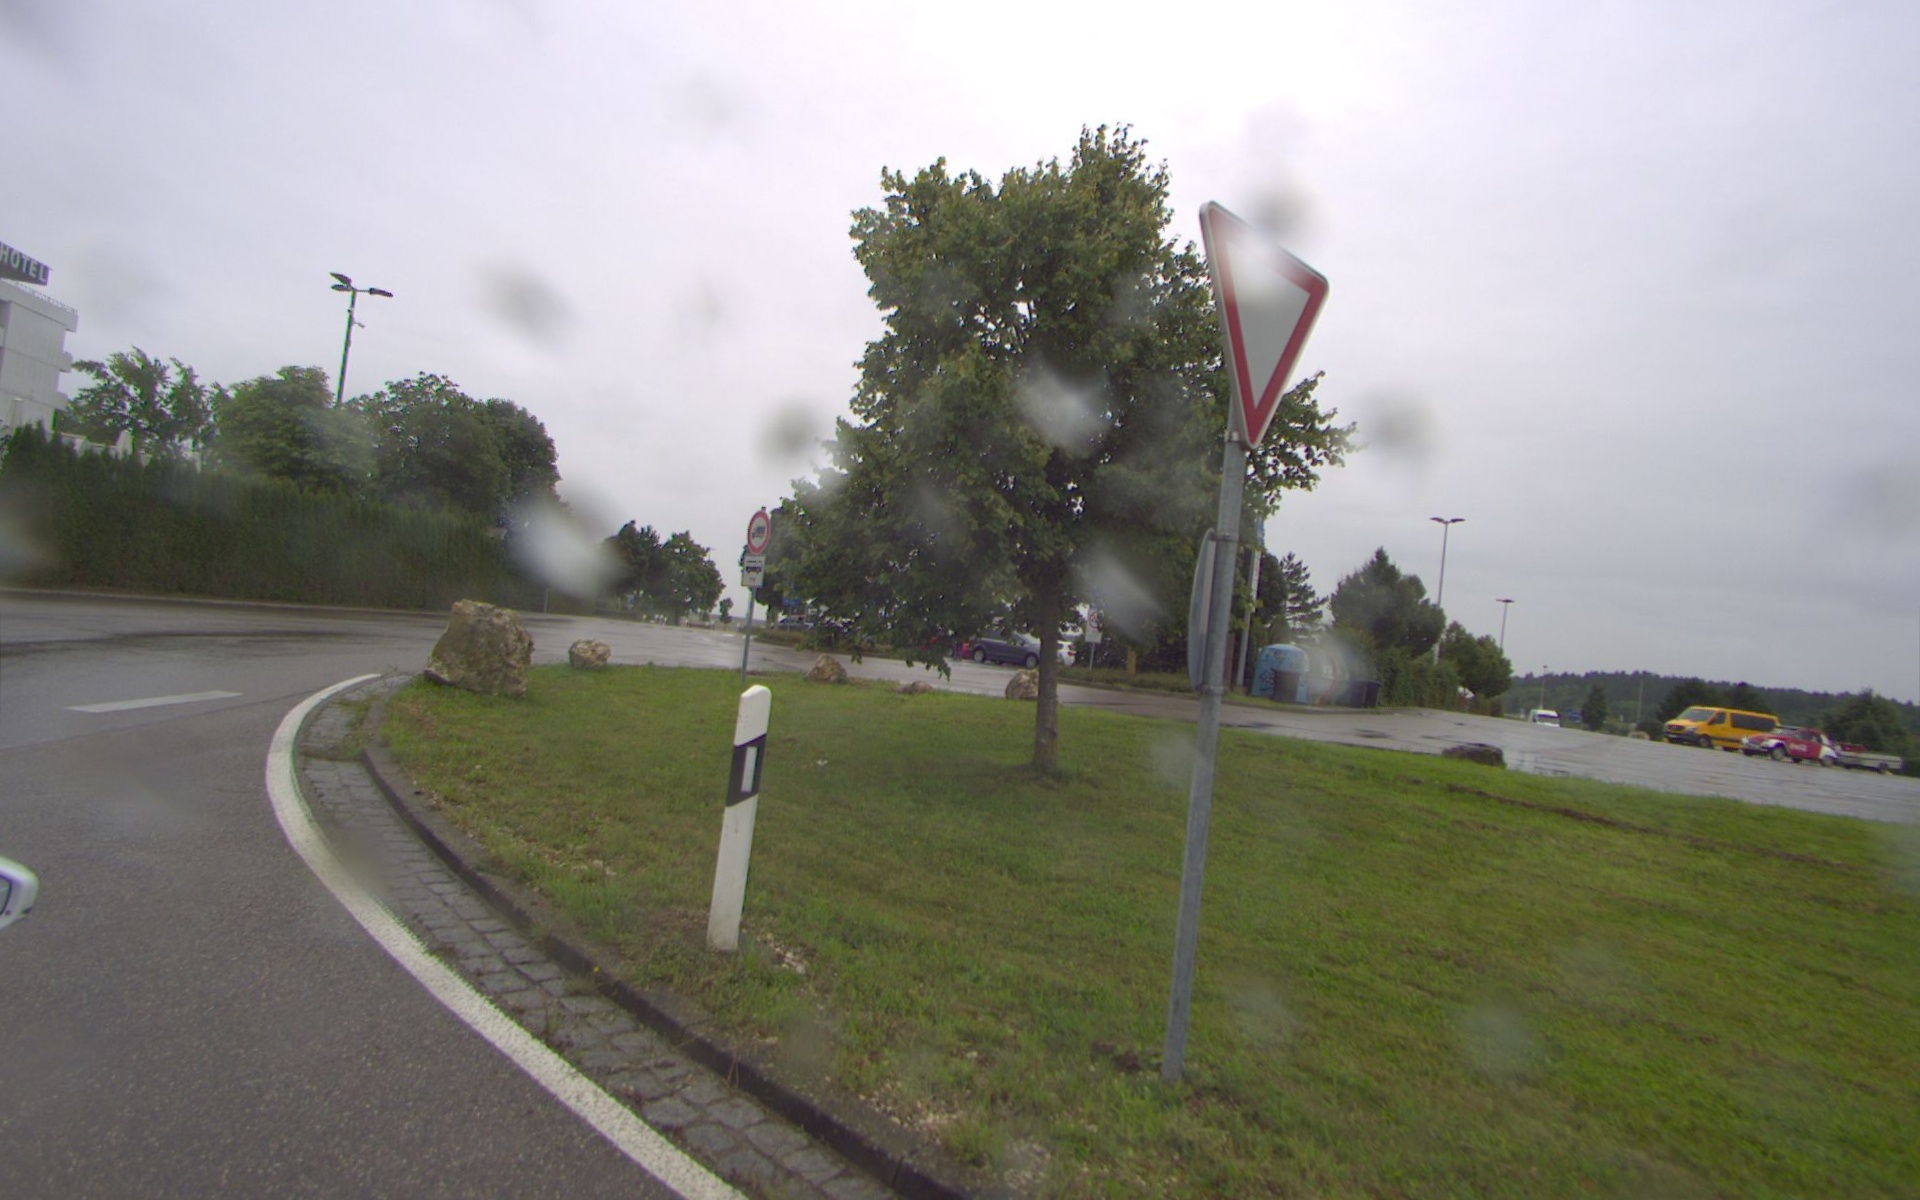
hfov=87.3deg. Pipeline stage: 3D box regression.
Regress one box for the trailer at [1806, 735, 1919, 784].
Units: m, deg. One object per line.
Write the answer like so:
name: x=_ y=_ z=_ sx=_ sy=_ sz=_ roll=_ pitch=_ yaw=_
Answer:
trailer: x=38.903 y=6.846 z=43.199 sx=3.932 sy=1.550 sz=1.699 roll=7 pitch=-2 yaw=-8

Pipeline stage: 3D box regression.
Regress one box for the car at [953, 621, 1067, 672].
car: x=2.297 y=2.146 z=46.748 sx=4.874 sy=1.813 sz=1.995 roll=4 pitch=-2 yaw=35

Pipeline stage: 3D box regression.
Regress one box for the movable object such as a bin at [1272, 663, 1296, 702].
movable object such as a bin: x=8.641 y=2.195 z=26.838 sx=0.464 sy=0.960 sz=0.435 roll=7 pitch=0 yaw=13

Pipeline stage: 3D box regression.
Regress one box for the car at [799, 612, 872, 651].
car: x=-7.812 y=1.960 z=62.827 sx=4.301 sy=1.882 sz=1.718 roll=4 pitch=-4 yaw=35

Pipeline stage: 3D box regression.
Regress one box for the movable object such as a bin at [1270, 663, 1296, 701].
movable object such as a bin: x=8.766 y=2.220 z=27.299 sx=0.443 sy=0.960 sz=0.404 roll=6 pitch=0 yaw=-11

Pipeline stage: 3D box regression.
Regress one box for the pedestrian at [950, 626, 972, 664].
pedestrian: x=0.062 y=2.057 z=46.170 sx=0.702 sy=1.656 sz=0.648 roll=6 pitch=-3 yaw=13

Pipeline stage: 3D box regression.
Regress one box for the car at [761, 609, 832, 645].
car: x=-9.839 y=1.617 z=60.425 sx=3.964 sy=1.734 sz=1.718 roll=4 pitch=-4 yaw=35

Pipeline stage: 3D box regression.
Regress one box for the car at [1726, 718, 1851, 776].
car: x=35.073 y=6.214 z=42.622 sx=3.932 sy=1.797 sz=1.827 roll=8 pitch=-2 yaw=-8

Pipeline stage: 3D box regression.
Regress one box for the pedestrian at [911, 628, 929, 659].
pedestrian: x=-1.878 y=2.020 z=46.900 sx=0.633 sy=1.376 sz=0.452 roll=8 pitch=-3 yaw=-6

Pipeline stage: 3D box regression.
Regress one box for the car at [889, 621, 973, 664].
car: x=-1.527 y=2.221 z=52.934 sx=3.961 sy=1.813 sz=1.846 roll=4 pitch=-2 yaw=35
